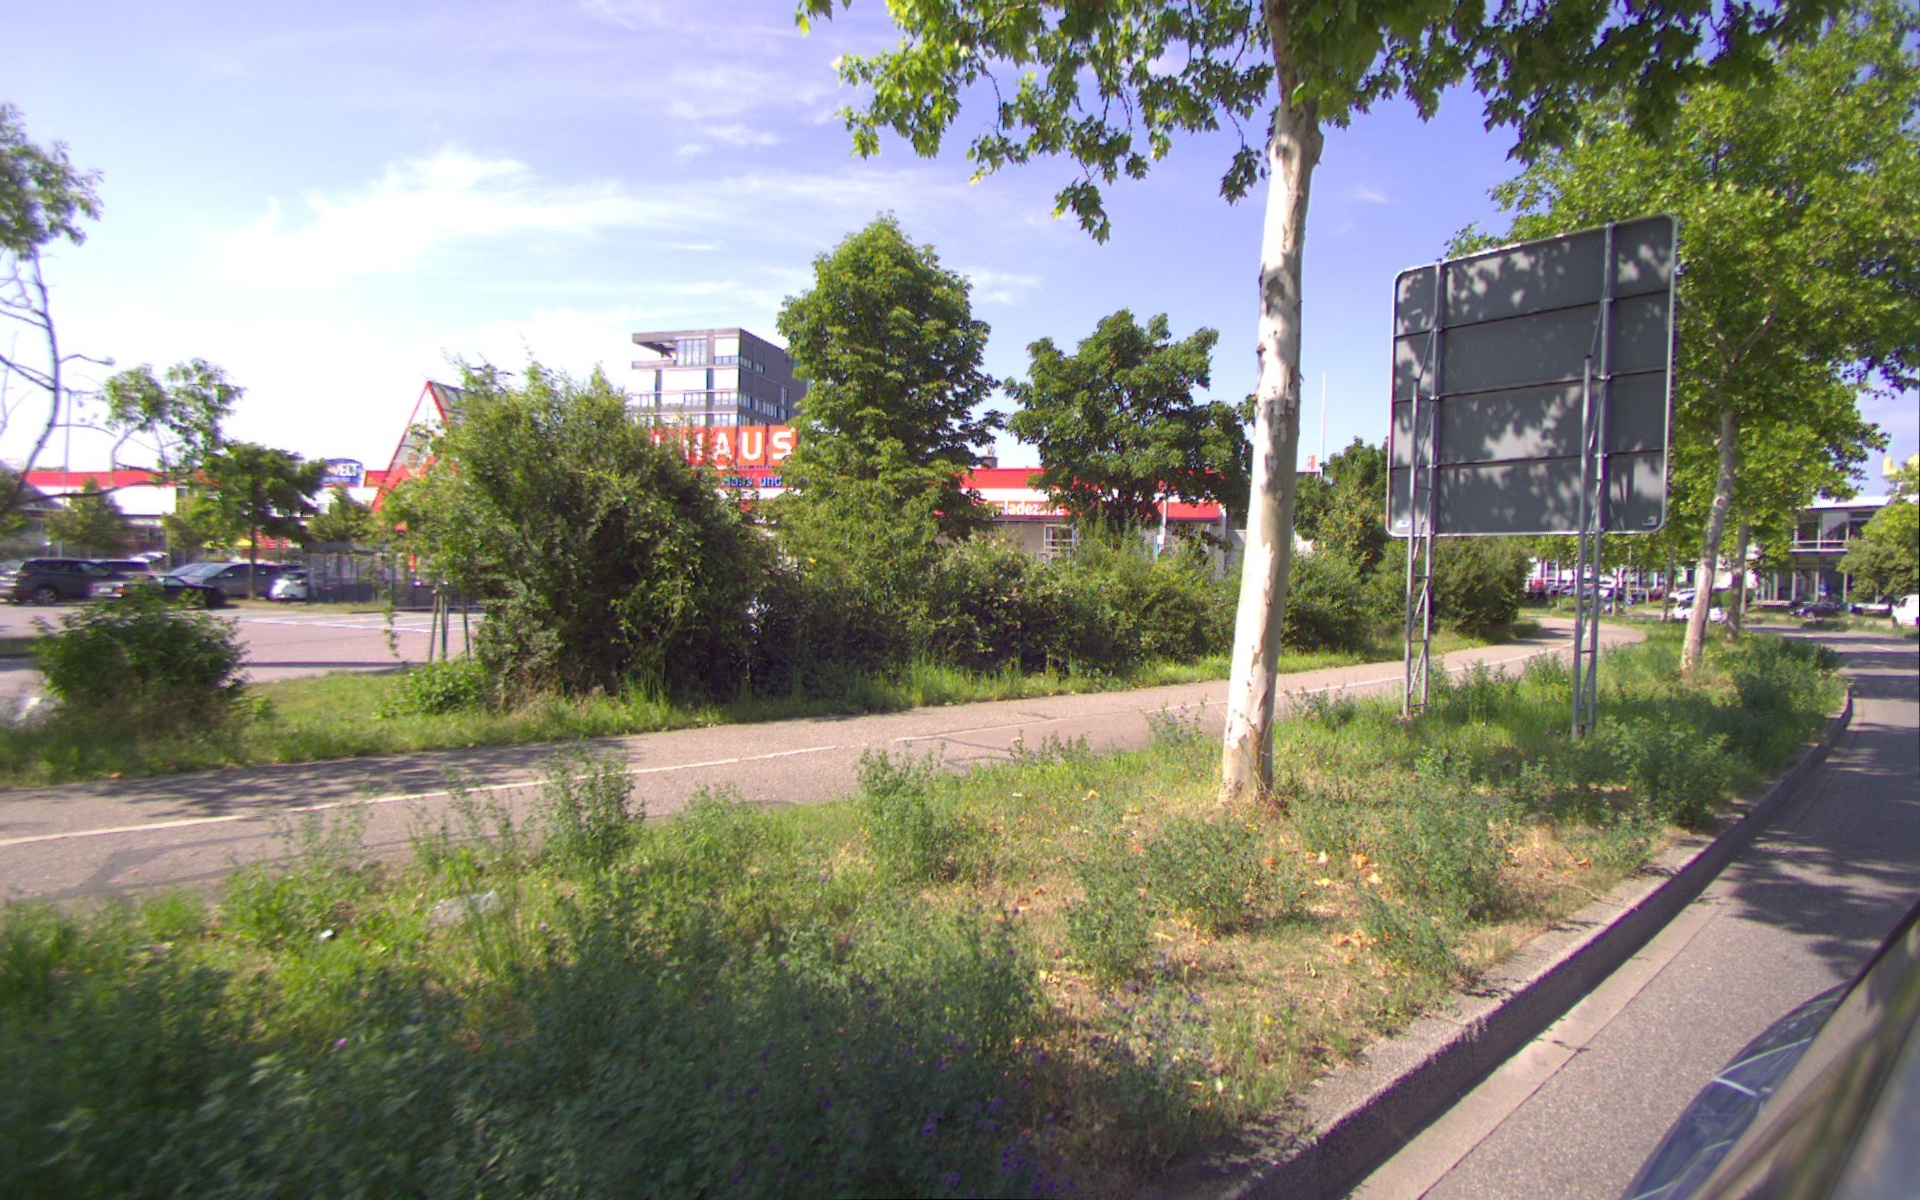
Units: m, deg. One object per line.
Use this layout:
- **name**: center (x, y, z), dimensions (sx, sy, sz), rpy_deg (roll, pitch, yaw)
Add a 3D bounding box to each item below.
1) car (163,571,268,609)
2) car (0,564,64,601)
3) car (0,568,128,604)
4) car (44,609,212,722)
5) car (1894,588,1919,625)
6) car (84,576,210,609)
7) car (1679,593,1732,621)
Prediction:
- **car**: center (-30.937, -0.403, 42.134), dimensions (1.584, 1.500, 3.163), rpy_deg (0, 0, 23)
- **car**: center (-35.344, -0.632, 36.992), dimensions (1.584, 1.341, 3.566), rpy_deg (0, 0, 22)
- **car**: center (-32.613, -0.479, 36.611), dimensions (1.584, 1.239, 3.566), rpy_deg (0, 0, 22)
- **car**: center (-12.025, 0.842, 14.686), dimensions (1.710, 1.238, 3.589), rpy_deg (0, 2, -40)
- **car**: center (53.366, 0.358, 55.224), dimensions (1.976, 2.039, 4.485), rpy_deg (0, 0, 21)
- **car**: center (-28.148, -0.246, 35.134), dimensions (1.496, 1.073, 3.173), rpy_deg (0, 0, 15)
- **car**: center (45.083, 0.394, 61.260), dimensions (1.807, 1.540, 4.170), rpy_deg (1, 1, 26)
